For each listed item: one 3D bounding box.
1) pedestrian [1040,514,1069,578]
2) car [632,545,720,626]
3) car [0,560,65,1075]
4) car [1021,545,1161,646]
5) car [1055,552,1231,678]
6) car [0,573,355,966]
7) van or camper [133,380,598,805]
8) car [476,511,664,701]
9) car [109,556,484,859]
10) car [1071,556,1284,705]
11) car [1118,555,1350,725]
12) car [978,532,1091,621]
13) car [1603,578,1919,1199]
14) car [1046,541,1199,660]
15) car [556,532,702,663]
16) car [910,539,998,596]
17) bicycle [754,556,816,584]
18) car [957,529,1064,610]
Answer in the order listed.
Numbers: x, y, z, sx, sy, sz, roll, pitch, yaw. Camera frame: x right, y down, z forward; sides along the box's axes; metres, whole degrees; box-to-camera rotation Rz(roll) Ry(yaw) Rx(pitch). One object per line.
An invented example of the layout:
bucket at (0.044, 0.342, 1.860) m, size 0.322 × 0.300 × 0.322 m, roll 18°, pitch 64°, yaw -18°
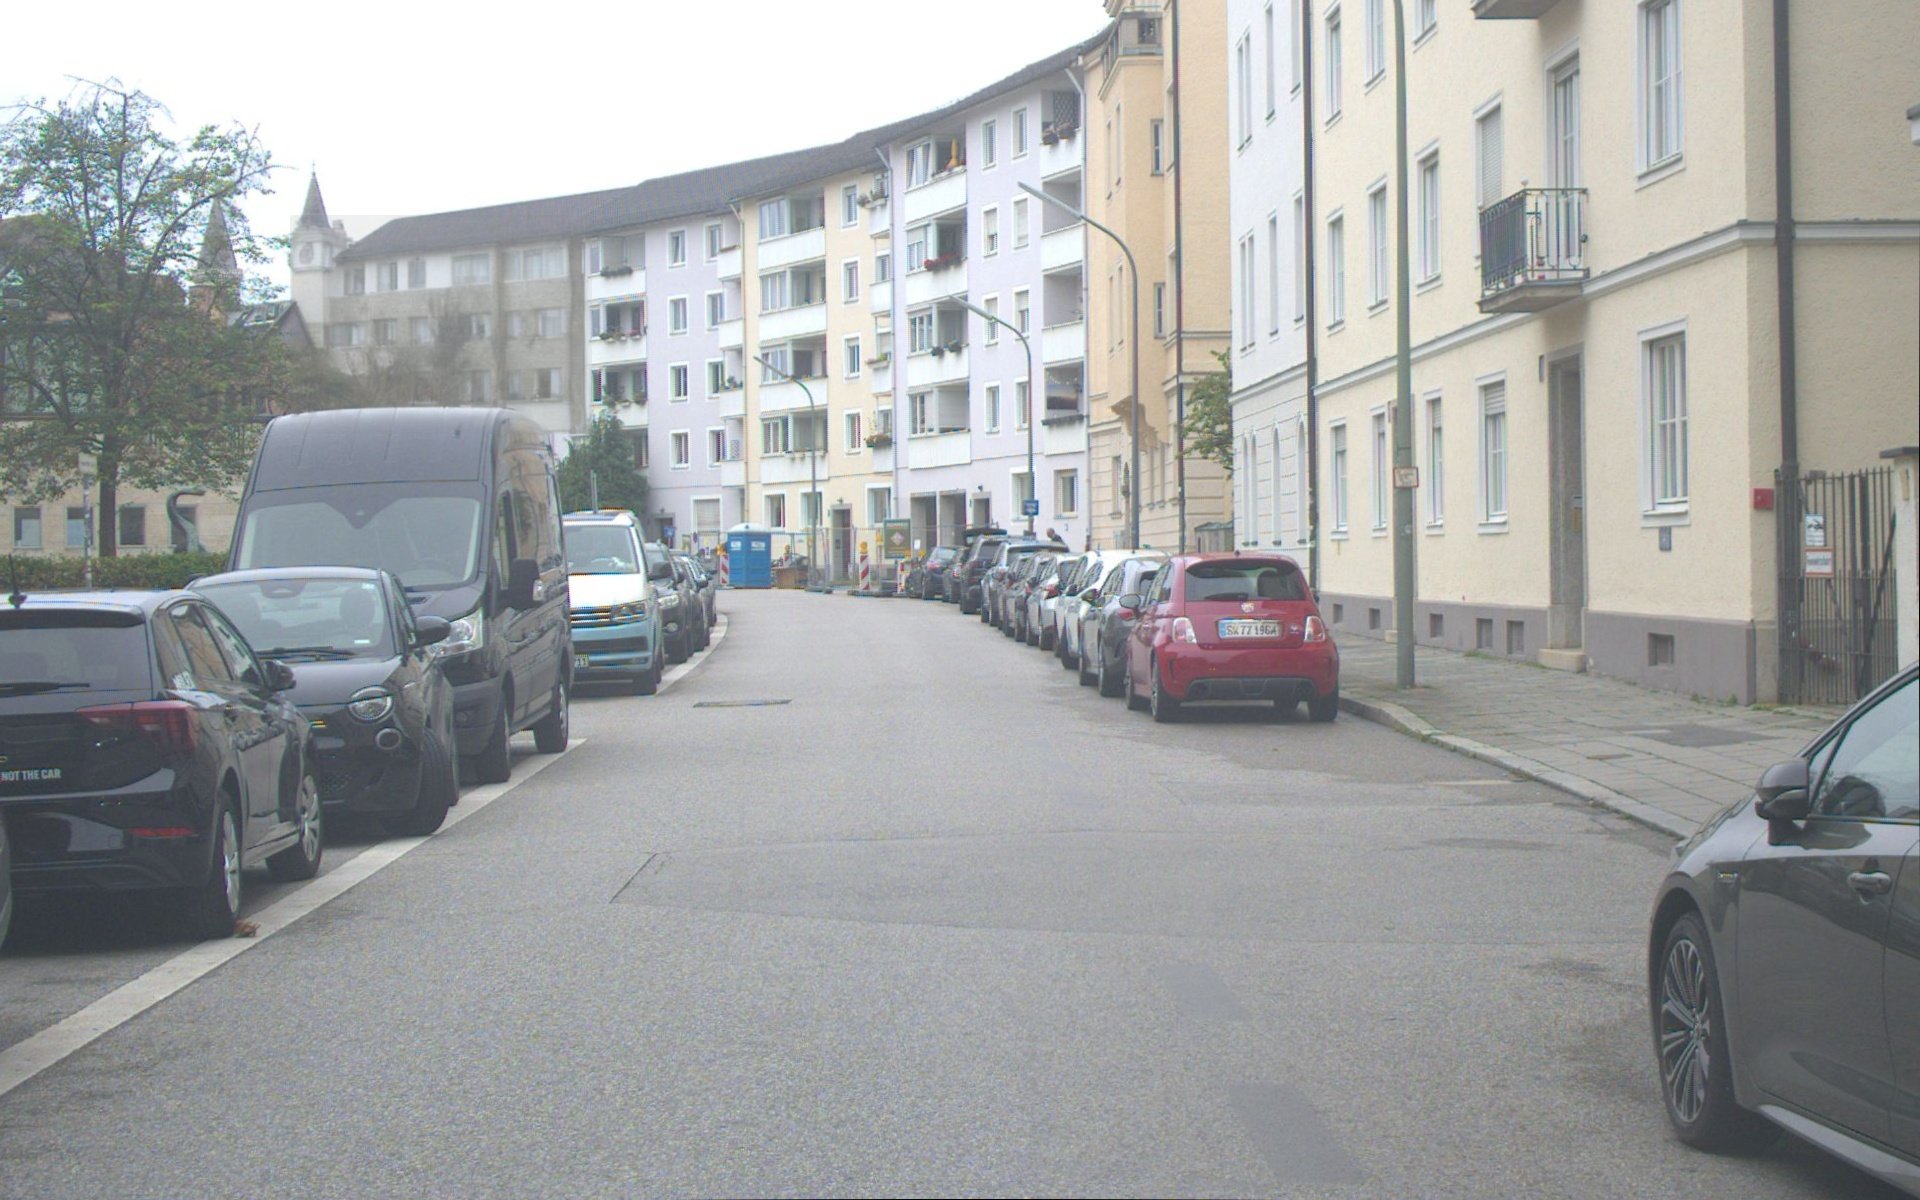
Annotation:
pedestrian at (2.534, -1.444, 92.111) m, size 0.617 × 1.684 × 0.919 m, roll -4°, pitch 1°, yaw -2°
car at (-5.722, -0.311, 69.612) m, size 1.630 × 1.489 × 4.276 m, roll -3°, pitch 1°, yaw -4°
car at (-3.862, 0.729, 8.453) m, size 1.863 × 1.536 × 5.091 m, roll -2°, pitch 1°, yaw 1°
car at (1.948, -0.099, 52.329) m, size 1.724 × 1.445 × 4.188 m, roll 0°, pitch 1°, yaw -3°
car at (2.186, 0.147, 42.081) m, size 1.724 × 1.425 × 4.294 m, roll 0°, pitch 1°, yaw -3°
car at (-3.806, 0.651, 15.358) m, size 1.675 × 1.431 × 4.287 m, roll -3°, pitch 1°, yaw -4°
van or camper at (-4.131, -0.099, 24.979) m, size 2.293 × 2.642 × 5.561 m, roll -3°, pitch 1°, yaw 0°
car at (-4.238, 0.005, 37.948) m, size 1.914 × 1.953 × 4.962 m, roll 0°, pitch 1°, yaw -5°
car at (-3.742, 0.535, 19.959) m, size 1.652 × 1.492 × 3.910 m, roll -3°, pitch 1°, yaw -5°
car at (2.235, 0.275, 36.509) m, size 1.773 × 1.425 × 4.616 m, roll 0°, pitch 1°, yaw -2°
car at (2.450, 0.325, 31.534) m, size 1.654 × 1.425 × 3.756 m, roll 0°, pitch 1°, yaw -3°
car at (1.420, -0.481, 67.124) m, size 1.846 × 1.658 × 4.499 m, roll 0°, pitch 1°, yaw -3°
car at (2.807, 0.720, 7.546) m, size 1.771 × 1.470 × 4.218 m, roll 0°, pitch 1°, yaw -3°
car at (2.189, -0.029, 47.304) m, size 1.650 × 1.538 × 3.994 m, roll 0°, pitch 1°, yaw -4°
car at (-4.606, -0.075, 48.266) m, size 1.714 × 1.683 × 4.141 m, roll -2°, pitch 1°, yaw -2°
car at (-0.198, -0.912, 93.833) m, size 1.908 × 1.472 × 4.947 m, roll 0°, pitch 1°, yaw -6°
bicycle at (-6.830, -1.183, 134.071) m, size 2.232 × 1.066 × 0.919 m, roll -1°, pitch 1°, yaw -26°
car at (1.092, -0.719, 77.382) m, size 2.169 × 1.733 × 5.024 m, roll 0°, pitch 1°, yaw -2°
